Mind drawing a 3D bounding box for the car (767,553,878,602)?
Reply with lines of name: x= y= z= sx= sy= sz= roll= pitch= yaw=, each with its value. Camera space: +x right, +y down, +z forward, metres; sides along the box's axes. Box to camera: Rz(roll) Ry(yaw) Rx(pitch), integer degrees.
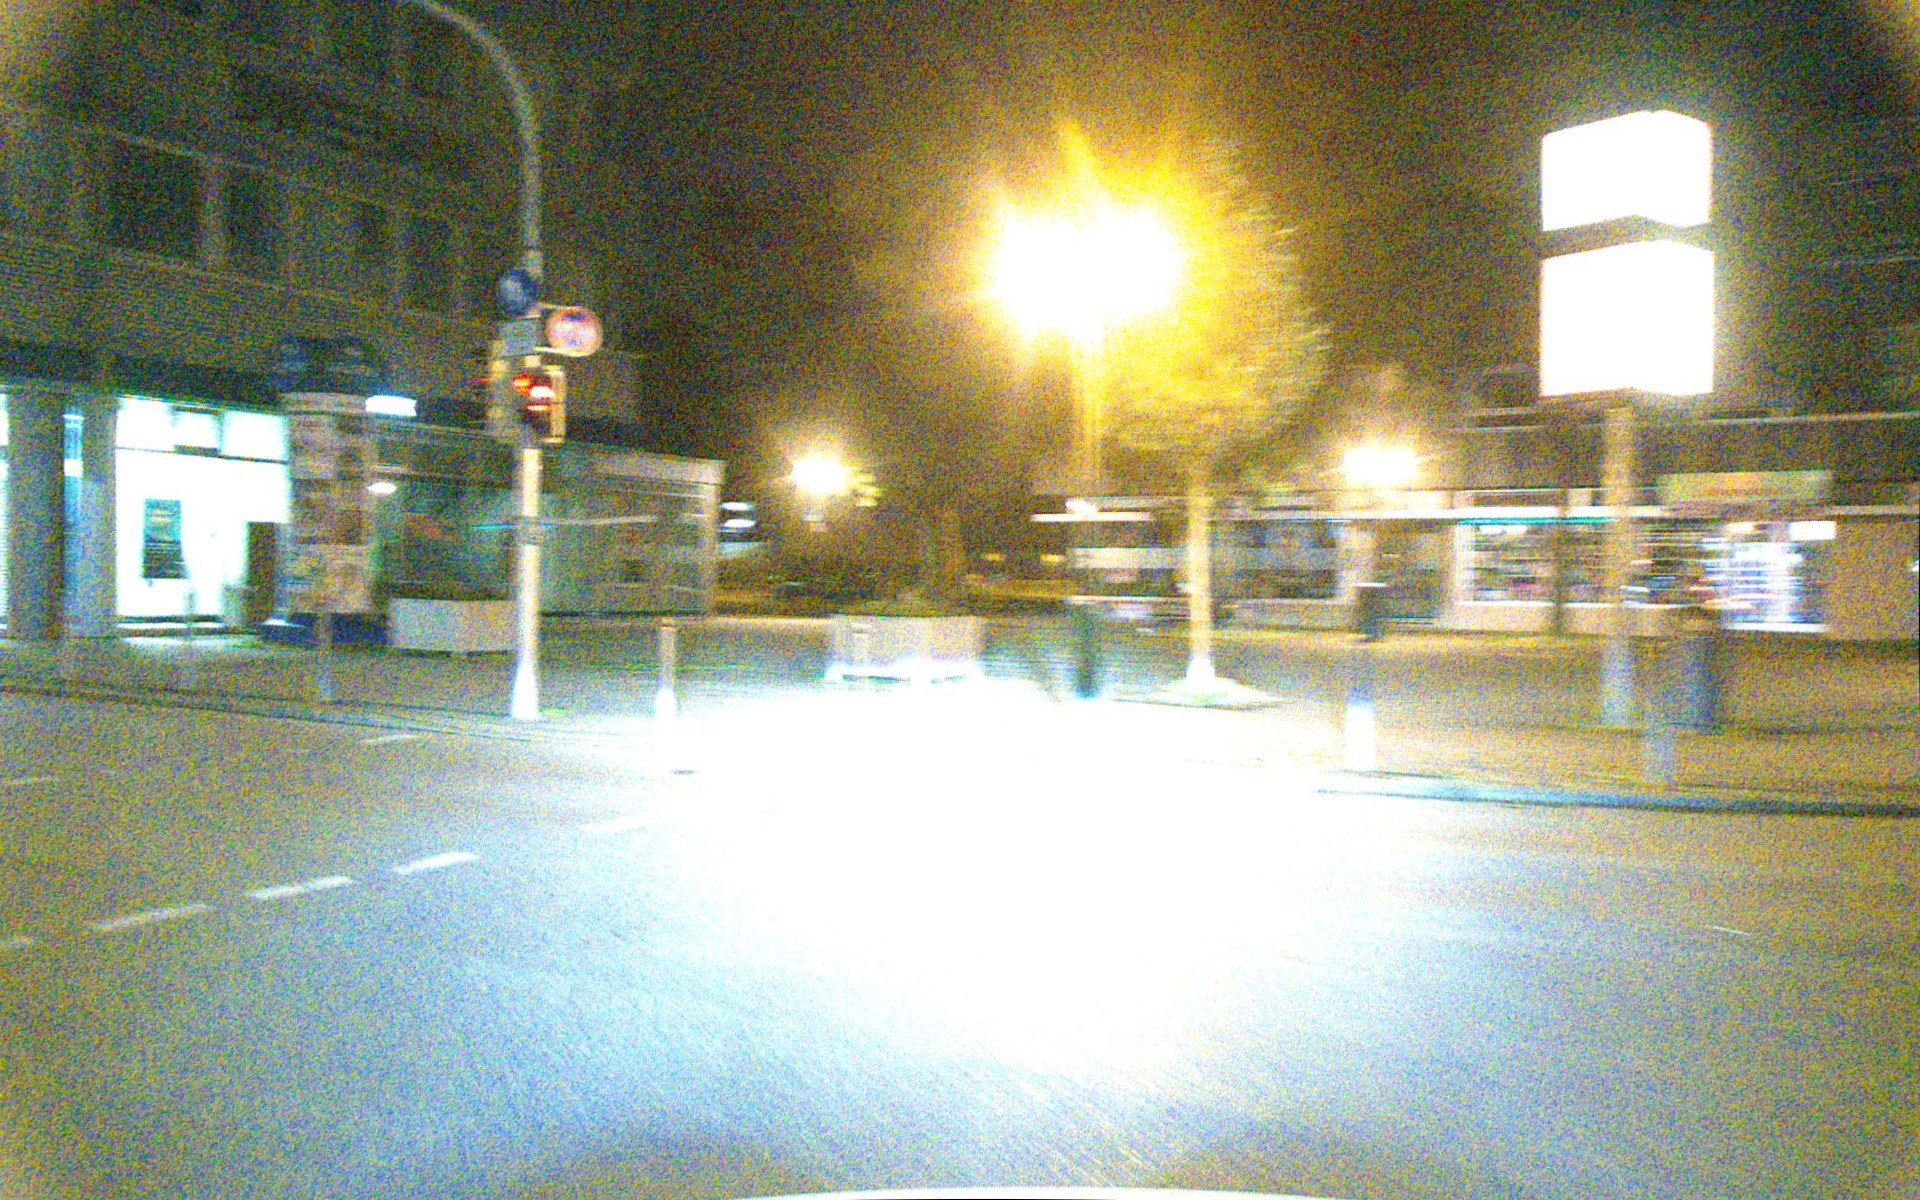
car: x=-4.514 y=-0.768 z=54.746 sx=1.880 sy=1.476 sz=3.998 roll=3 pitch=3 yaw=25
